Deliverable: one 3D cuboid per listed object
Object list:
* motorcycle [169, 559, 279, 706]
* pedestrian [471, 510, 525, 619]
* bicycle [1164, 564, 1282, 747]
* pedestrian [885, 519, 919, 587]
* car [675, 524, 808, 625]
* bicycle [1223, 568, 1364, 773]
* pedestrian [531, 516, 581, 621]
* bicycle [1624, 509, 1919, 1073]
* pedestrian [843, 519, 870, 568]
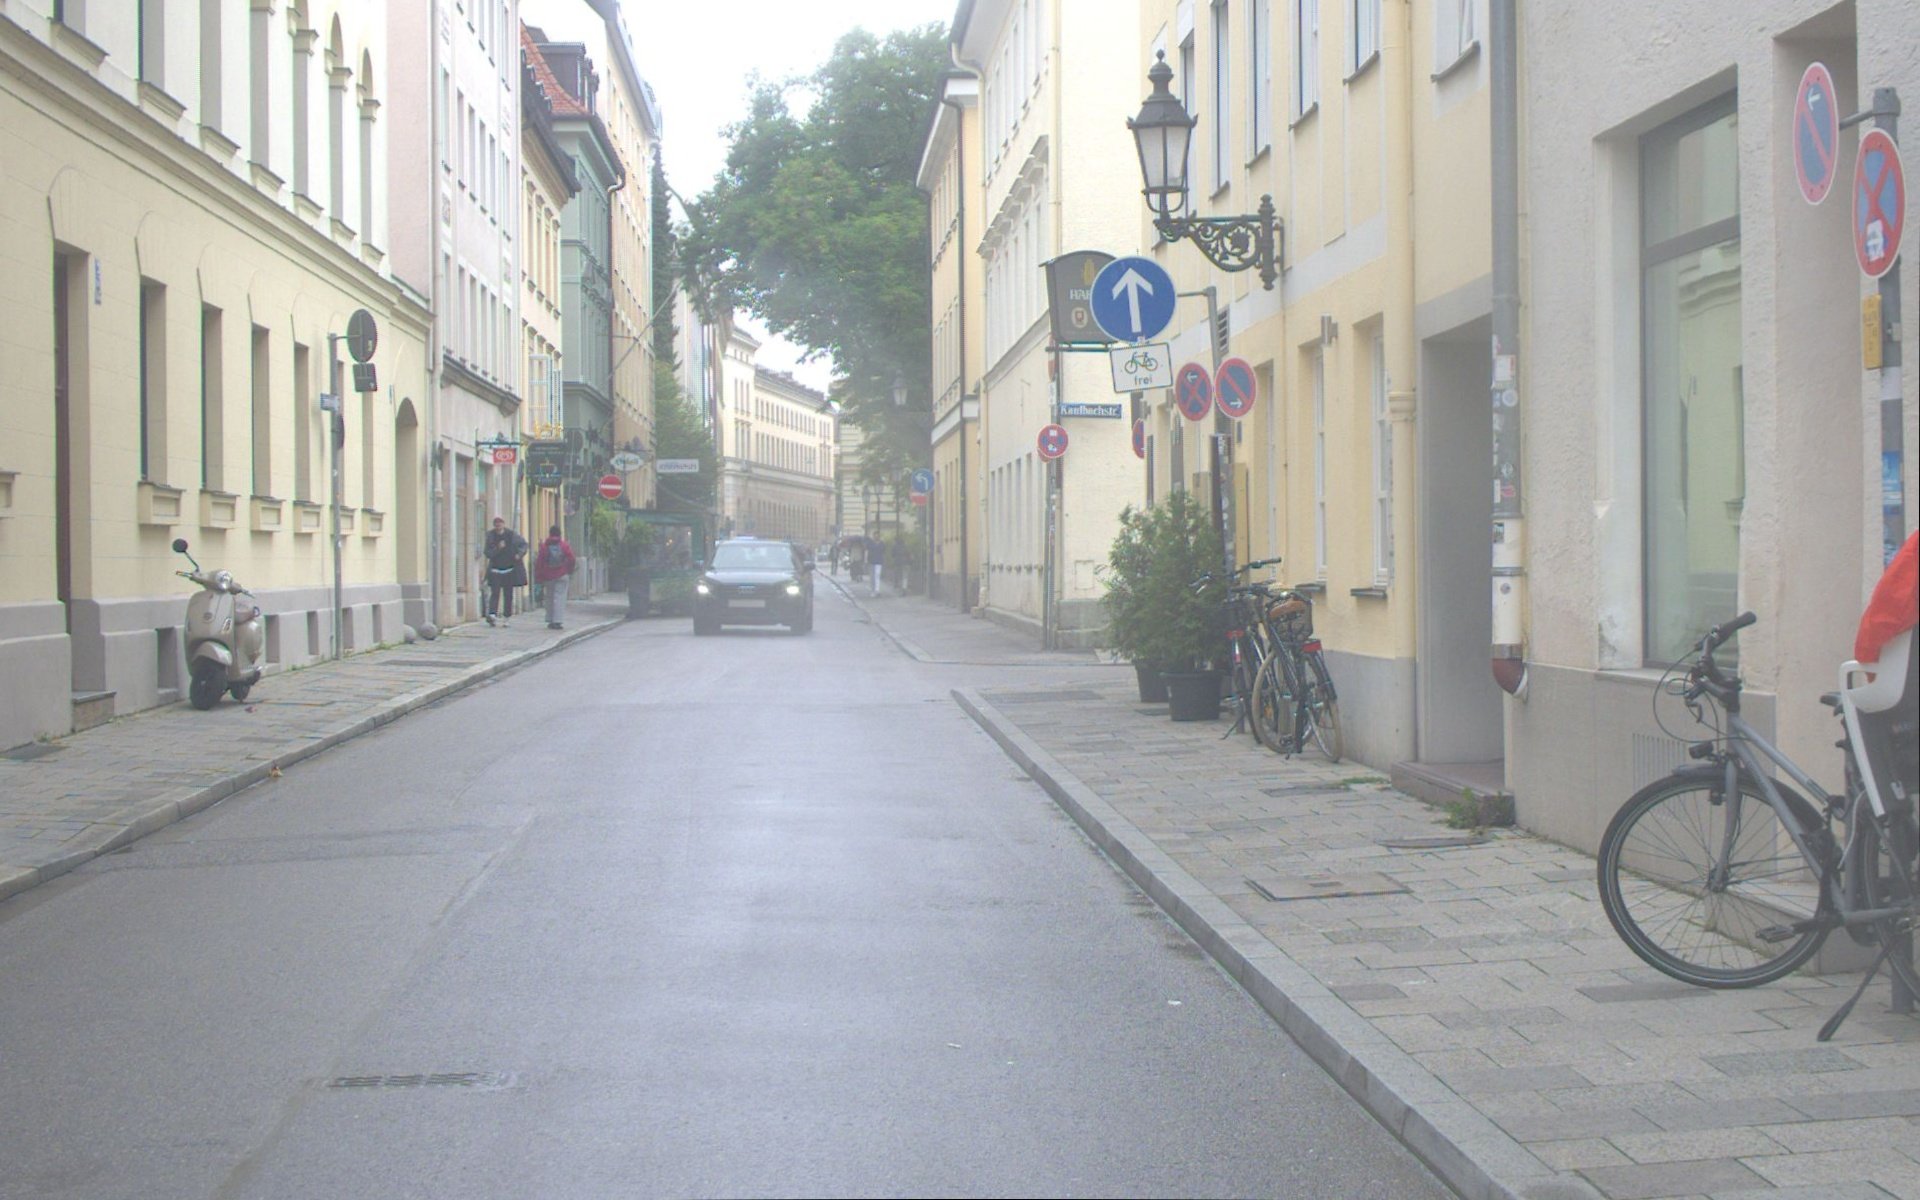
[{"bbox_3d":[-6.120,0.255,28.660,0.602,1.170,1.709,0,1,-2],"label":"motorcycle"},{"bbox_3d":[-7.521,-0.585,55.976,0.809,1.749,0.990,1,2,-5],"label":"pedestrian"},{"bbox_3d":[1.743,0.350,22.979,0.565,1.133,1.684,-2,1,-2],"label":"bicycle"},{"bbox_3d":[-1.560,-1.265,91.997,0.880,1.796,1.046,1,1,-2],"label":"pedestrian"},{"bbox_3d":[-3.511,-0.440,55.862,1.812,1.588,4.000,0,1,1],"label":"car"},{"bbox_3d":[1.994,0.398,20.768,0.565,1.133,1.988,-2,1,-2],"label":"bicycle"},{"bbox_3d":[-6.654,-0.527,56.652,0.765,1.702,0.785,-1,1,-5],"label":"pedestrian"},{"bbox_3d":[2.464,0.453,9.688,0.713,1.391,2.122,-3,1,0],"label":"bicycle"},{"bbox_3d":[-3.899,-2.132,129.381,1.015,1.796,1.349,1,1,-2],"label":"pedestrian"}]
